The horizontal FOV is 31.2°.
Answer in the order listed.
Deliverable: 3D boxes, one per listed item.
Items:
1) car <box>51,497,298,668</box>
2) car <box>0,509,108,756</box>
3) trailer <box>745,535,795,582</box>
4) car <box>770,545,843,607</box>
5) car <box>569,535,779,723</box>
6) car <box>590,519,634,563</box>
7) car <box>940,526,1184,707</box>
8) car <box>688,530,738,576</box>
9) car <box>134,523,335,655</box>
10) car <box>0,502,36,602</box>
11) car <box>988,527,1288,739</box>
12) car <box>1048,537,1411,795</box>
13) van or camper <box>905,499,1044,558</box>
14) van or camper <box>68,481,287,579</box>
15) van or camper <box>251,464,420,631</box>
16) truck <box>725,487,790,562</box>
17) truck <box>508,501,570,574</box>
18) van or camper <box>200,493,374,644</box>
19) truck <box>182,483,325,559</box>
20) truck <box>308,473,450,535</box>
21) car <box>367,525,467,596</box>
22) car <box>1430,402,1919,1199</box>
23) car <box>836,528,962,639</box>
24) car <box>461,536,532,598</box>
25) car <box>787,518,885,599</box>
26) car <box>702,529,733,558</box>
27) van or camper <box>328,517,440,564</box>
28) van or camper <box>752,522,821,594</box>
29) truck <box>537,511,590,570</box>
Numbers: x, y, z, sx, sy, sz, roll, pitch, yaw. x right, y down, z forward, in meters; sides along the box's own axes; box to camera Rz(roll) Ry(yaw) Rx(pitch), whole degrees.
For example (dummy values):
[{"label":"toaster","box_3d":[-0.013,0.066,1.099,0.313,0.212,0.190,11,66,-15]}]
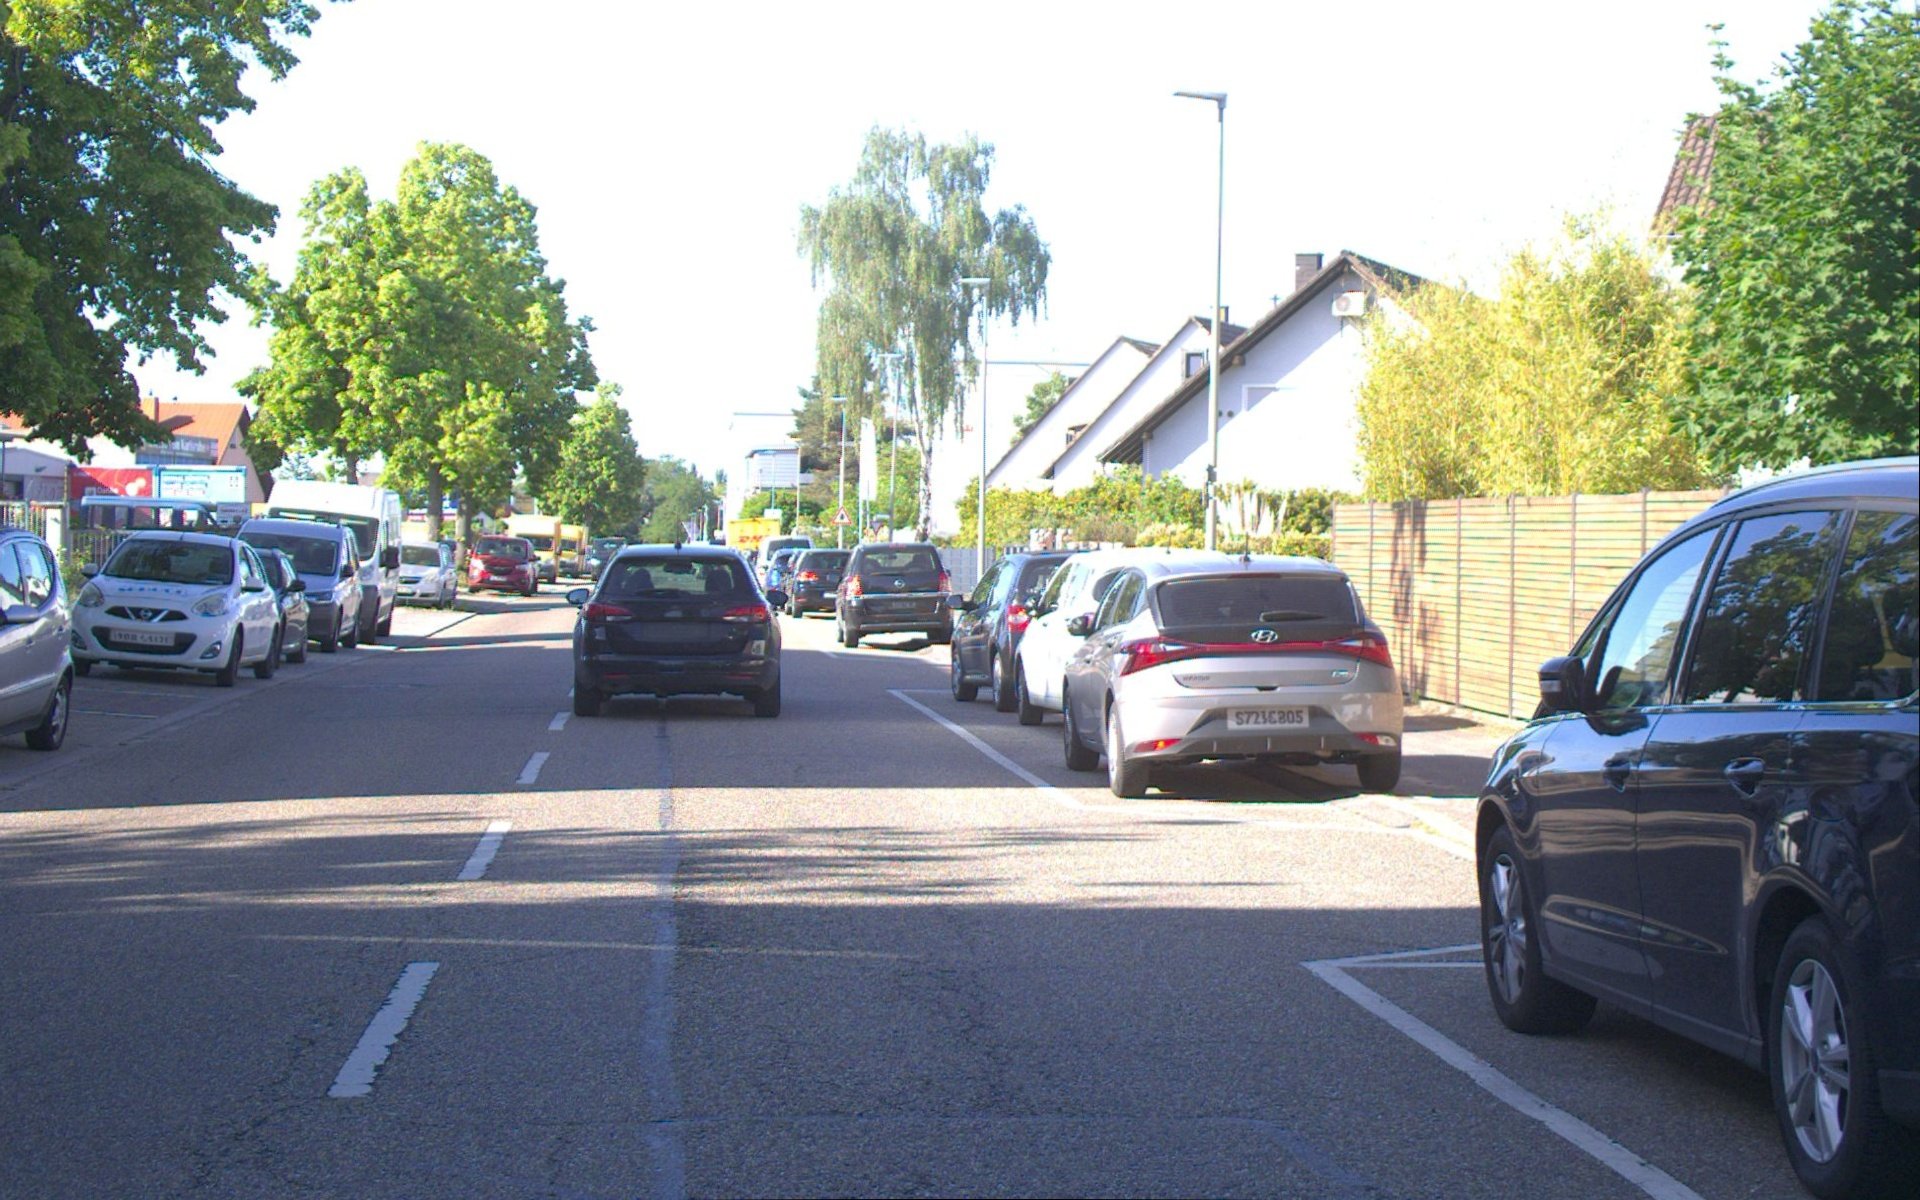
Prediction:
[{"label":"car","box_3d":[-8.083,-0.207,35.686,1.692,1.560,3.907,4,1,-2]},{"label":"car","box_3d":[-7.155,0.136,23.418,1.722,1.587,3.909,6,1,-3]},{"label":"trailer","box_3d":[-6.432,-1.399,116.317,1.627,1.533,3.199,1,1,-4]},{"label":"car","box_3d":[-3.966,-0.638,88.302,1.718,1.499,3.564,2,1,-4]},{"label":"car","box_3d":[-2.483,0.207,30.266,1.711,1.527,3.688,1,1,-4]},{"label":"car","box_3d":[-16.229,-2.748,160.496,1.894,2.024,4.819,-1,1,-4]},{"label":"car","box_3d":[0.914,0.115,33.023,1.656,1.595,3.817,2,1,-8]},{"label":"car","box_3d":[-9.260,-1.753,129.126,1.819,1.664,3.644,0,0,-3]},{"label":"car","box_3d":[-8.781,-0.167,41.903,1.609,1.430,4.313,4,1,-2]},{"label":"car","box_3d":[-16.089,-0.760,51.336,1.612,1.508,4.379,2,1,36]},{"label":"car","box_3d":[1.402,0.222,28.578,1.724,1.595,3.817,2,1,-8]},{"label":"car","box_3d":[1.631,0.355,22.072,1.641,1.489,3.890,1,1,-6]},{"label":"van or camper","box_3d":[0.646,-3.187,153.403,5.813,2.532,2.290,1,1,-31]},{"label":"van or camper","box_3d":[-19.908,-1.780,87.582,4.894,2.312,2.243,2,0,8]},{"label":"van or camper","box_3d":[-10.052,-0.861,55.734,2.122,2.481,5.556,3,1,-5]},{"label":"truck","box_3d":[-8.297,-3.050,140.337,2.402,2.926,7.017,-1,1,-5]},{"label":"truck","box_3d":[-18.315,-2.717,149.944,2.402,2.973,7.247,3,1,-6]},{"label":"van or camper","box_3d":[-9.537,-0.469,48.999,1.877,2.007,4.280,2,1,-4]},{"label":"truck","box_3d":[-31.736,-3.538,154.437,5.670,3.109,2.522,3,1,7]},{"label":"truck","box_3d":[-26.549,-4.379,157.287,5.923,2.559,2.223,3,1,7]},{"label":"car","box_3d":[-12.079,-0.898,76.647,1.687,1.430,4.209,4,1,-3]},{"label":"car","box_3d":[2.642,0.462,9.177,1.742,1.807,4.430,1,1,-6]},{"label":"car","box_3d":[-1.017,-0.294,54.874,1.775,1.653,4.304,2,1,-3]},{"label":"car","box_3d":[-13.950,-1.003,103.601,1.803,1.746,4.342,3,1,-4]},{"label":"car","box_3d":[-2.701,-0.913,74.280,1.775,1.653,3.817,2,1,-6]},{"label":"car","box_3d":[-15.566,-3.629,220.221,1.918,1.819,4.080,1,1,-5]},{"label":"van or camper","box_3d":[-25.759,-2.672,153.834,4.543,2.007,2.251,1,1,2]},{"label":"van or camper","box_3d":[-4.749,-1.153,93.889,1.718,1.884,4.180,2,1,-4]},{"label":"truck","box_3d":[-20.923,-3.118,181.458,2.402,2.973,6.375,3,0,-4]}]
